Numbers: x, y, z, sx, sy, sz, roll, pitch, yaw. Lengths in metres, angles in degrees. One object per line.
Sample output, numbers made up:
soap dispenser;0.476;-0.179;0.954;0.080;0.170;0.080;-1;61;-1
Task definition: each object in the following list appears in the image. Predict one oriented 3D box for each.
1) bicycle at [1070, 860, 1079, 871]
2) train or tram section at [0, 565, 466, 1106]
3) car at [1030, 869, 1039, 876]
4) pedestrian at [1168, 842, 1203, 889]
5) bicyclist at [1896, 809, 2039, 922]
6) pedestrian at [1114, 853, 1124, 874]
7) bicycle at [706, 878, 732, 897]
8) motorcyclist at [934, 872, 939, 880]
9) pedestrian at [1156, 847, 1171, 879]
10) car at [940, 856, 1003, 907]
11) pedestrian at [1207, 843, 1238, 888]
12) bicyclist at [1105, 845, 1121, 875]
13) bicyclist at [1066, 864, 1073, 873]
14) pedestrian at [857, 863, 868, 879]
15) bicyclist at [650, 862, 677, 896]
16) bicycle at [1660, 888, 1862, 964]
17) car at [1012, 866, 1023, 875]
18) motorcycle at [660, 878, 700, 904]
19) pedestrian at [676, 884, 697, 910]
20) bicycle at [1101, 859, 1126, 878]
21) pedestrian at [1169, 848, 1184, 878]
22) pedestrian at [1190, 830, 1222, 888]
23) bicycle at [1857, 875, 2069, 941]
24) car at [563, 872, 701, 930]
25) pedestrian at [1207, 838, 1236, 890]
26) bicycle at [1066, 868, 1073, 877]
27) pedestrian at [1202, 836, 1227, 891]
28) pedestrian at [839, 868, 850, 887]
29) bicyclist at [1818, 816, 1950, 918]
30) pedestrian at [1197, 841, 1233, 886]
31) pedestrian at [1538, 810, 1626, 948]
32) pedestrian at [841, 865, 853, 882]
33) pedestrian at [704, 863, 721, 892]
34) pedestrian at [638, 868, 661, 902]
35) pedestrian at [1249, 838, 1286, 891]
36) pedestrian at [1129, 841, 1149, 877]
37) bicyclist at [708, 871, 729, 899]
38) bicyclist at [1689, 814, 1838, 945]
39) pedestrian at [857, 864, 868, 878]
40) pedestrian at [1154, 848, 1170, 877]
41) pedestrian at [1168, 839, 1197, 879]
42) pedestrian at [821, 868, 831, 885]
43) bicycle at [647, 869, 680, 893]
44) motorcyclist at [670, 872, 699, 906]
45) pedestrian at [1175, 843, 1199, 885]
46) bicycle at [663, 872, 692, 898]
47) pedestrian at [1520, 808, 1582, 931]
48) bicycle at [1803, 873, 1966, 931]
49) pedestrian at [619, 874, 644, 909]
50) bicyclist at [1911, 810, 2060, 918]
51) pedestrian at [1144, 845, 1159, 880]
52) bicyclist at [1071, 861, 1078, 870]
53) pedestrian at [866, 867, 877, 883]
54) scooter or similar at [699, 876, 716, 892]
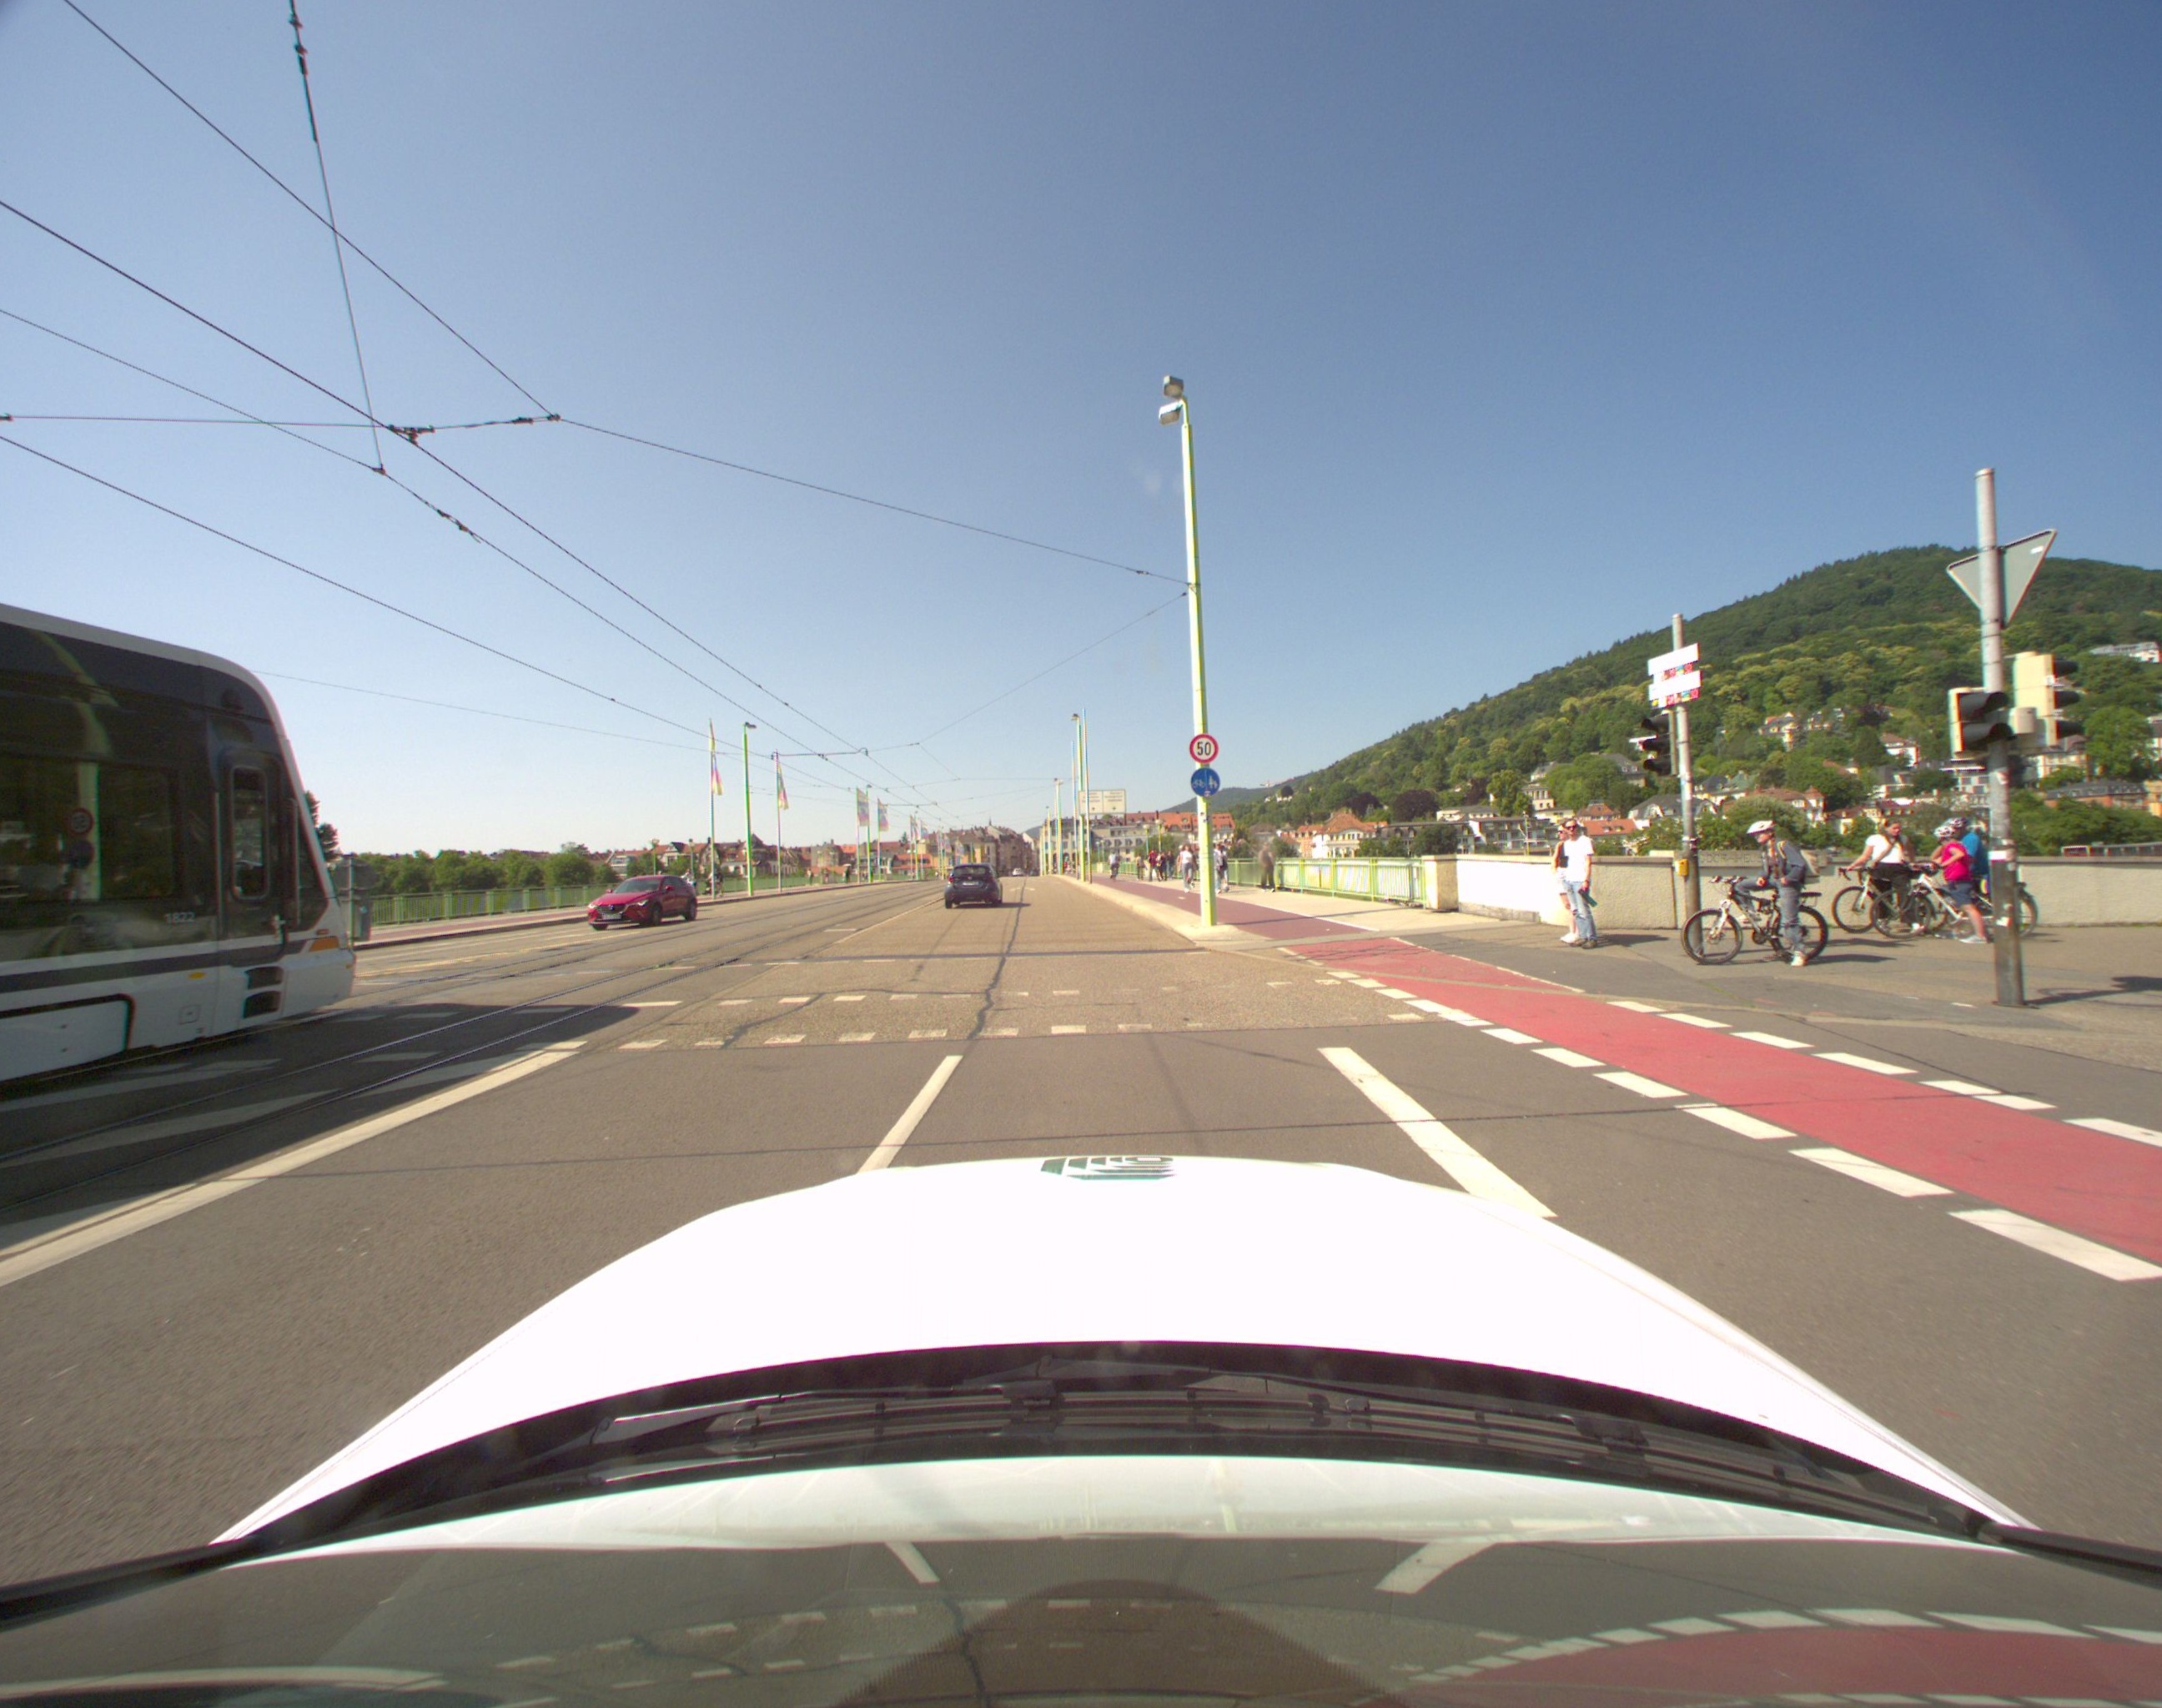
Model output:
bicycle;-0.786;1.380;94.453;0.694;1.194;2.073;-3;-2;-8
train or tram section;-8.720;-0.101;4.087;2.463;3.777;11.841;-3;0;-2
car;-9.420;3.757;165.121;1.799;1.469;3.997;-4;-2;-2
pedestrian;3.745;0.416;29.246;0.985;1.615;0.918;-2;-2;-10
bicyclist;12.084;0.164;11.149;1.071;1.474;0.766;-1;-1;20
pedestrian;3.250;0.831;69.745;0.655;1.744;0.975;-2;0;-10
bicycle;-21.794;2.017;49.046;0.757;1.114;1.917;-2;-1;-4
motorcyclist;-29.946;4.581;168.589;0.799;1.549;1.067;-2;-2;-5
pedestrian;4.351;0.478;42.931;0.523;1.649;0.697;-2;-2;-10
car;-3.710;0.898;27.975;1.908;1.540;3.991;-2;-1;-6
pedestrian;5.427;0.440;31.263;0.834;1.677;0.882;-2;-2;-10
bicyclist;1.898;0.349;48.675;0.673;1.744;1.147;-2;-1;-8
bicyclist;-1.438;1.782;101.601;0.734;1.031;1.173;-2;-2;-6
pedestrian;-27.703;2.147;103.312;1.096;2.014;1.126;-2;-1;-7
bicyclist;-20.972;1.231;40.890;0.875;1.609;0.771;-3;0;-2
bicycle;8.037;0.844;9.668;1.932;0.827;0.565;-1;-1;0
car;-11.700;3.112;149.578;1.802;1.469;3.990;-4;-2;-7
motorcycle;-16.873;1.548;34.303;0.843;1.025;1.948;-1;-1;-5
pedestrian;-22.044;2.397;45.540;0.742;1.456;0.898;-2;-2;-5
bicycle;1.931;0.872;48.586;0.792;1.096;3.733;-3;-1;-8
pedestrian;5.312;0.486;45.326;0.648;1.631;0.691;-1;-1;-4
pedestrian;4.475;0.176;29.163;0.803;2.014;0.951;-2;-2;-10
bicycle;12.002;0.721;11.149;1.923;0.854;0.568;-1;-1;19
car;-13.442;1.359;24.695;1.989;1.515;4.184;-2;-1;-3
pedestrian;4.741;0.337;27.568;0.695;1.716;0.729;-2;-2;-10
bicycle;-1.436;2.314;101.662;0.617;1.037;2.046;-2;-1;-6
pedestrian;4.421;0.312;26.990;0.549;1.799;0.643;-2;-2;-10
pedestrian;-26.328;2.635;90.811;0.968;2.014;1.098;-2;-1;-10
bicyclist;12.168;0.196;12.378;1.075;1.474;0.928;-1;-1;2
pedestrian;5.473;0.399;33.328;0.985;1.769;1.250;-3;-1;-10
pedestrian;6.963;0.338;11.353;0.771;1.855;0.644;-2;-1;-1
pedestrian;-25.344;2.113;88.256;1.096;1.758;1.292;-1;-1;-7
pedestrian;-24.460;1.558;54.094;0.738;1.854;0.973;1;-1;-7
pedestrian;-23.191;1.679;43.799;0.738;1.784;0.955;1;-1;-7
pedestrian;5.958;0.332;26.098;0.799;1.635;0.946;-2;-1;-10
pedestrian;3.392;0.309;47.723;0.874;2.014;1.055;-2;-2;-10
bicyclist;-21.794;1.870;48.996;0.875;1.609;0.770;-2;-2;-5
bicyclist;8.050;0.287;9.654;1.076;1.474;0.800;-1;-1;0
pedestrian;-27.668;2.187;103.177;1.094;1.729;1.294;-1;-1;-3
pedestrian;4.502;0.490;45.158;0.650;1.562;0.689;-3;-1;-10
pedestrian;4.921;0.256;39.475;0.985;1.895;1.250;-2;-2;-10
pedestrian;-27.030;2.365;86.344;0.753;1.722;1.173;-1;-2;-7
bicycle;-20.940;1.345;40.896;0.757;1.114;1.918;0;1;-2
motorcyclist;-16.920;1.481;34.769;0.844;1.402;0.896;-1;-1;-7
pedestrian;4.333;0.412;33.335;0.654;1.650;0.865;-2;-2;-10
bicycle;-22.522;1.710;45.530;0.704;1.400;2.158;2;-1;-6
pedestrian;6.901;0.224;11.978;0.532;1.760;0.577;-2;-1;-1
bicycle;12.235;0.715;12.430;1.932;0.827;0.565;-1;-1;0
pedestrian;-23.991;1.999;43.512;0.738;1.849;1.118;1;-1;-7
bicyclist;12.960;0.147;11.707;1.075;1.474;0.929;-1;-1;4
pedestrian;3.720;0.462;42.835;0.585;1.793;0.630;-2;-2;-9
bicyclist;-0.776;1.349;94.736;0.666;1.045;0.977;-1;-1;-10
pedestrian;-26.317;2.613;102.118;1.096;2.014;1.292;-2;-1;-7
scooter or similar;-24.366;1.949;53.179;0.738;1.030;0.831;1;-1;-7
